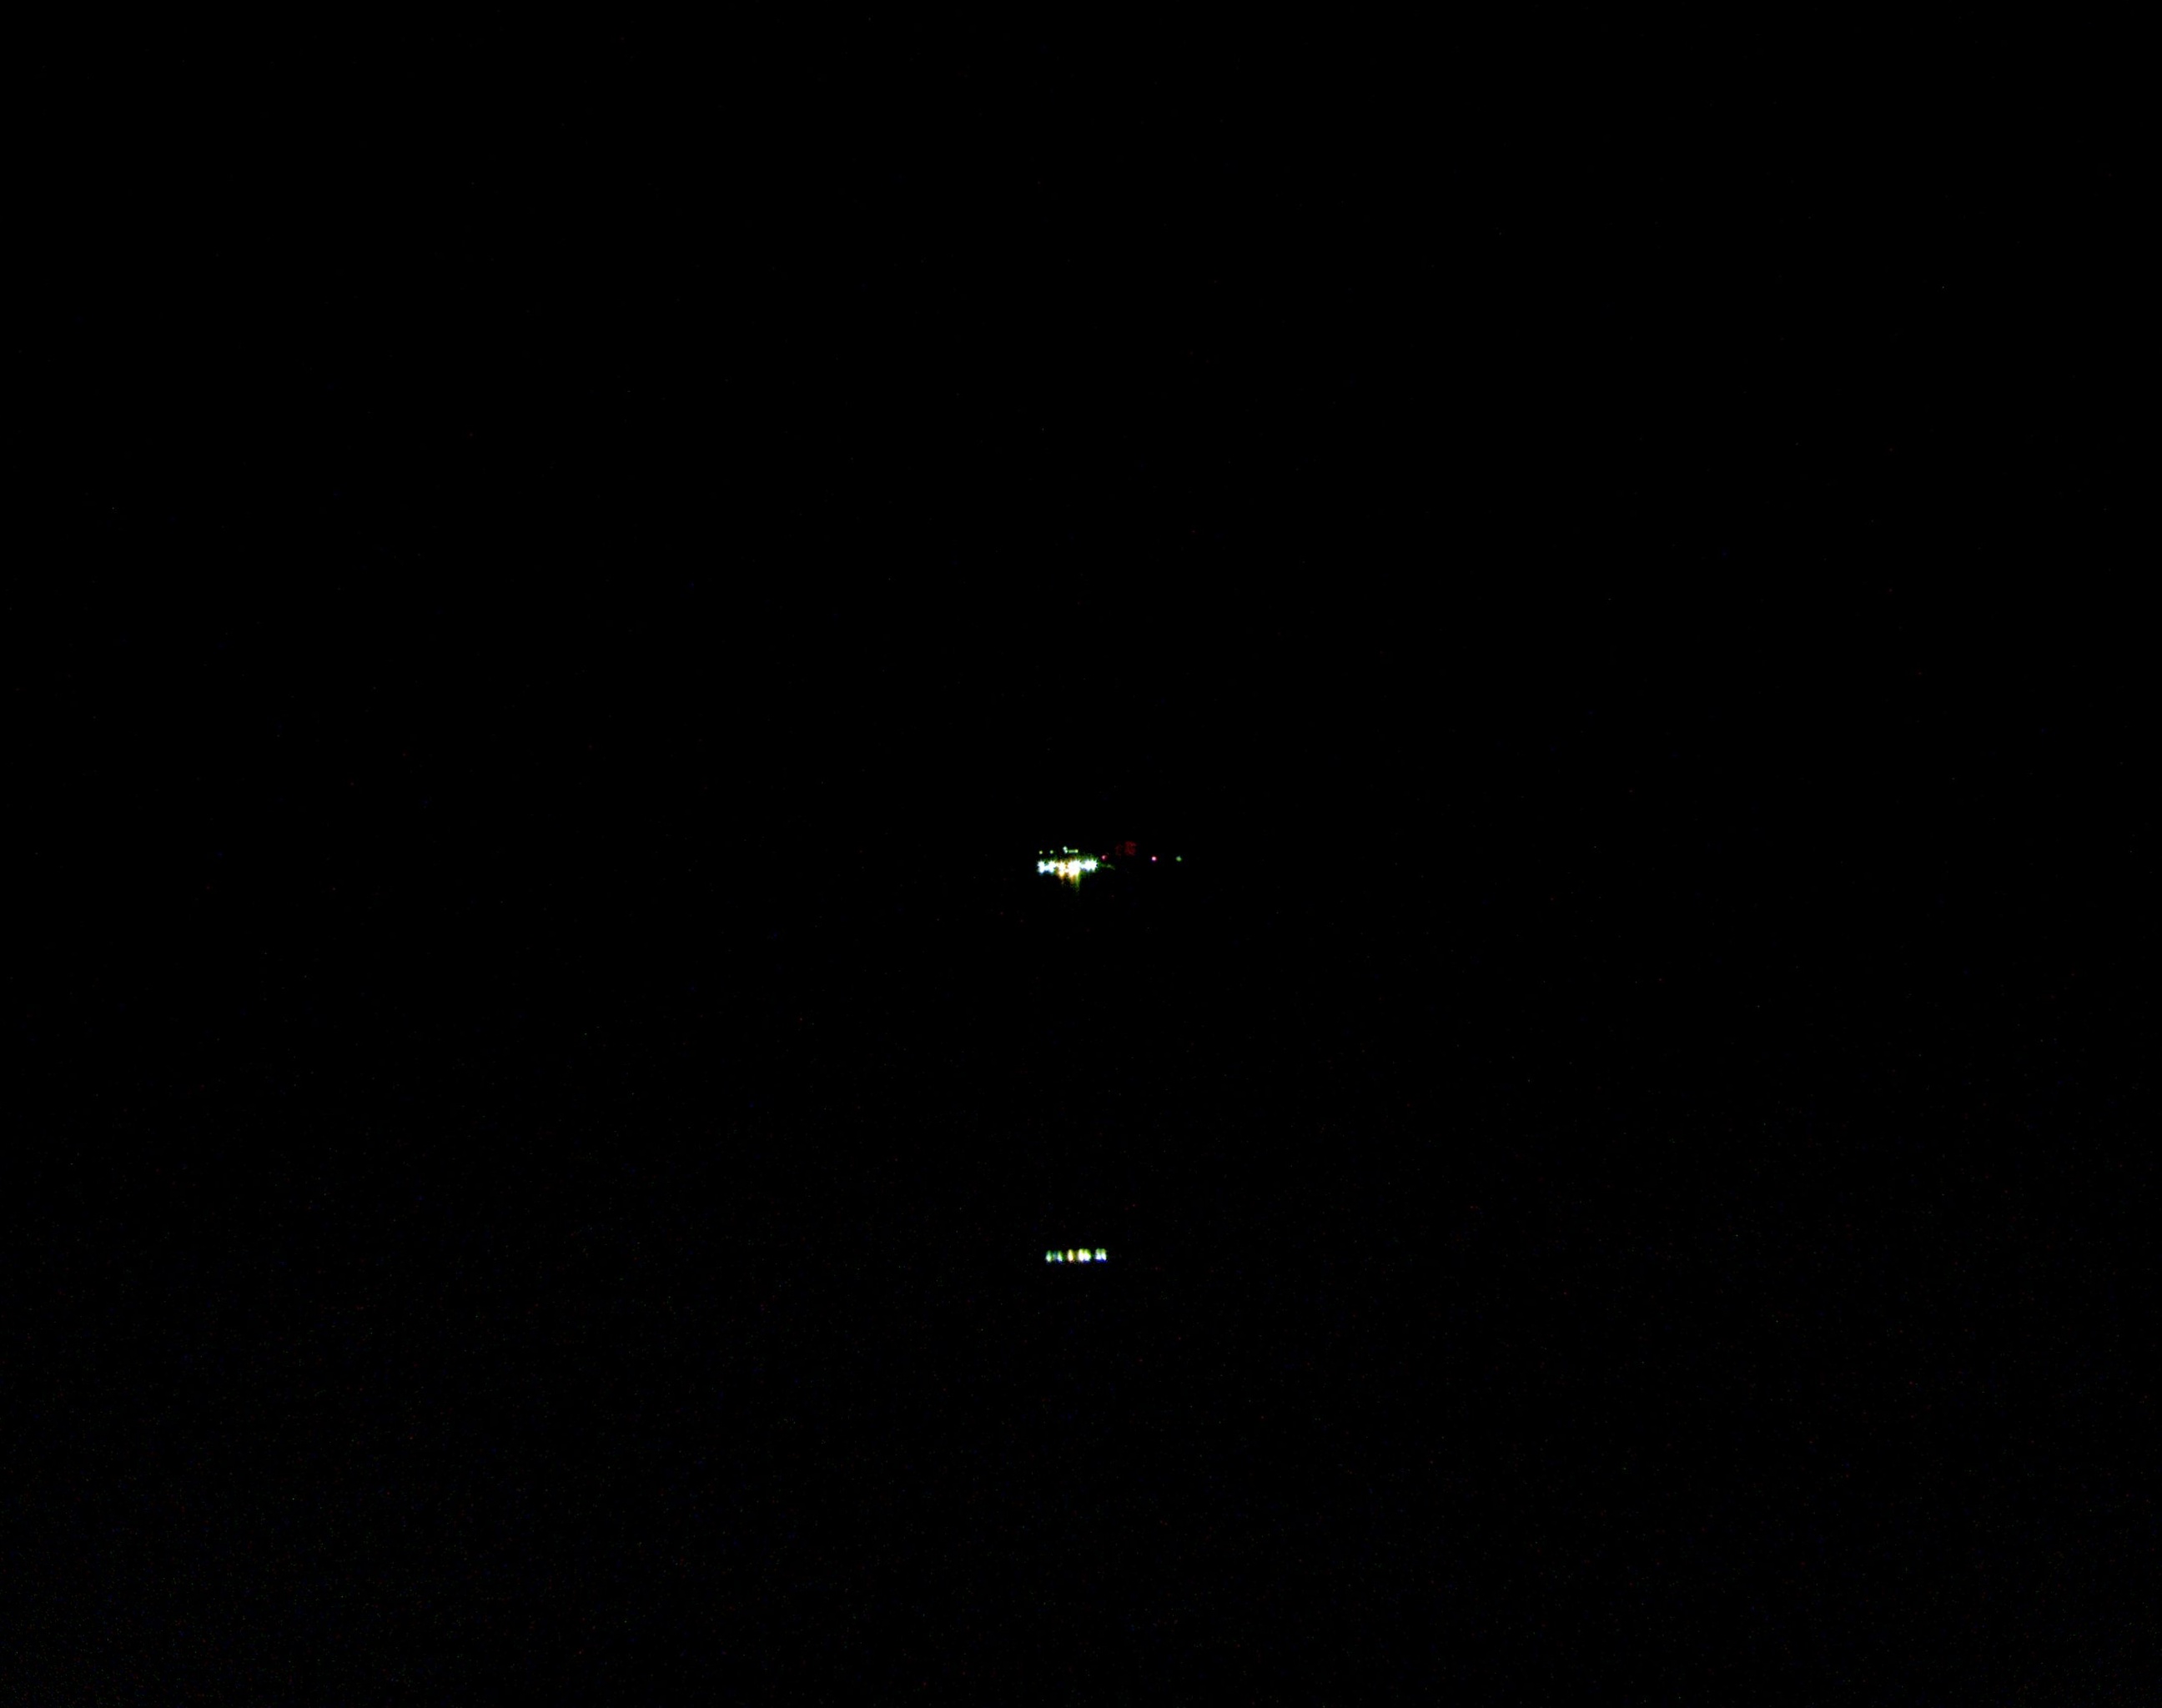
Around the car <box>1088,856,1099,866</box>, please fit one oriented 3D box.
[{"bbox_3d":[3.776,2.068,225.382,2.859,2.795,5.942,-3,-1,2],"label":"car"}]

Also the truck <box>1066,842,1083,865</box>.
[{"bbox_3d":[-1.155,-0.037,145.285,2.668,4.181,6.725,-3,-1,2],"label":"truck"}]

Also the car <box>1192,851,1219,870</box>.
[{"bbox_3d":[13.148,0.699,80.541,1.913,1.911,5.458,0,-1,-1],"label":"car"}]

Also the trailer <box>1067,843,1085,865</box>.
[{"bbox_3d":[-0.866,0.069,151.954,2.749,4.181,13.514,-3,-1,2],"label":"trailer"}]

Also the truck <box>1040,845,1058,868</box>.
[{"bbox_3d":[-5.934,0.490,143.526,2.597,4.048,7.676,-3,-1,2],"label":"truck"}]

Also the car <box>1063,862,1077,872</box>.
[{"bbox_3d":[-1.534,1.798,105.722,1.701,1.379,3.502,-3,-1,1],"label":"car"}]
